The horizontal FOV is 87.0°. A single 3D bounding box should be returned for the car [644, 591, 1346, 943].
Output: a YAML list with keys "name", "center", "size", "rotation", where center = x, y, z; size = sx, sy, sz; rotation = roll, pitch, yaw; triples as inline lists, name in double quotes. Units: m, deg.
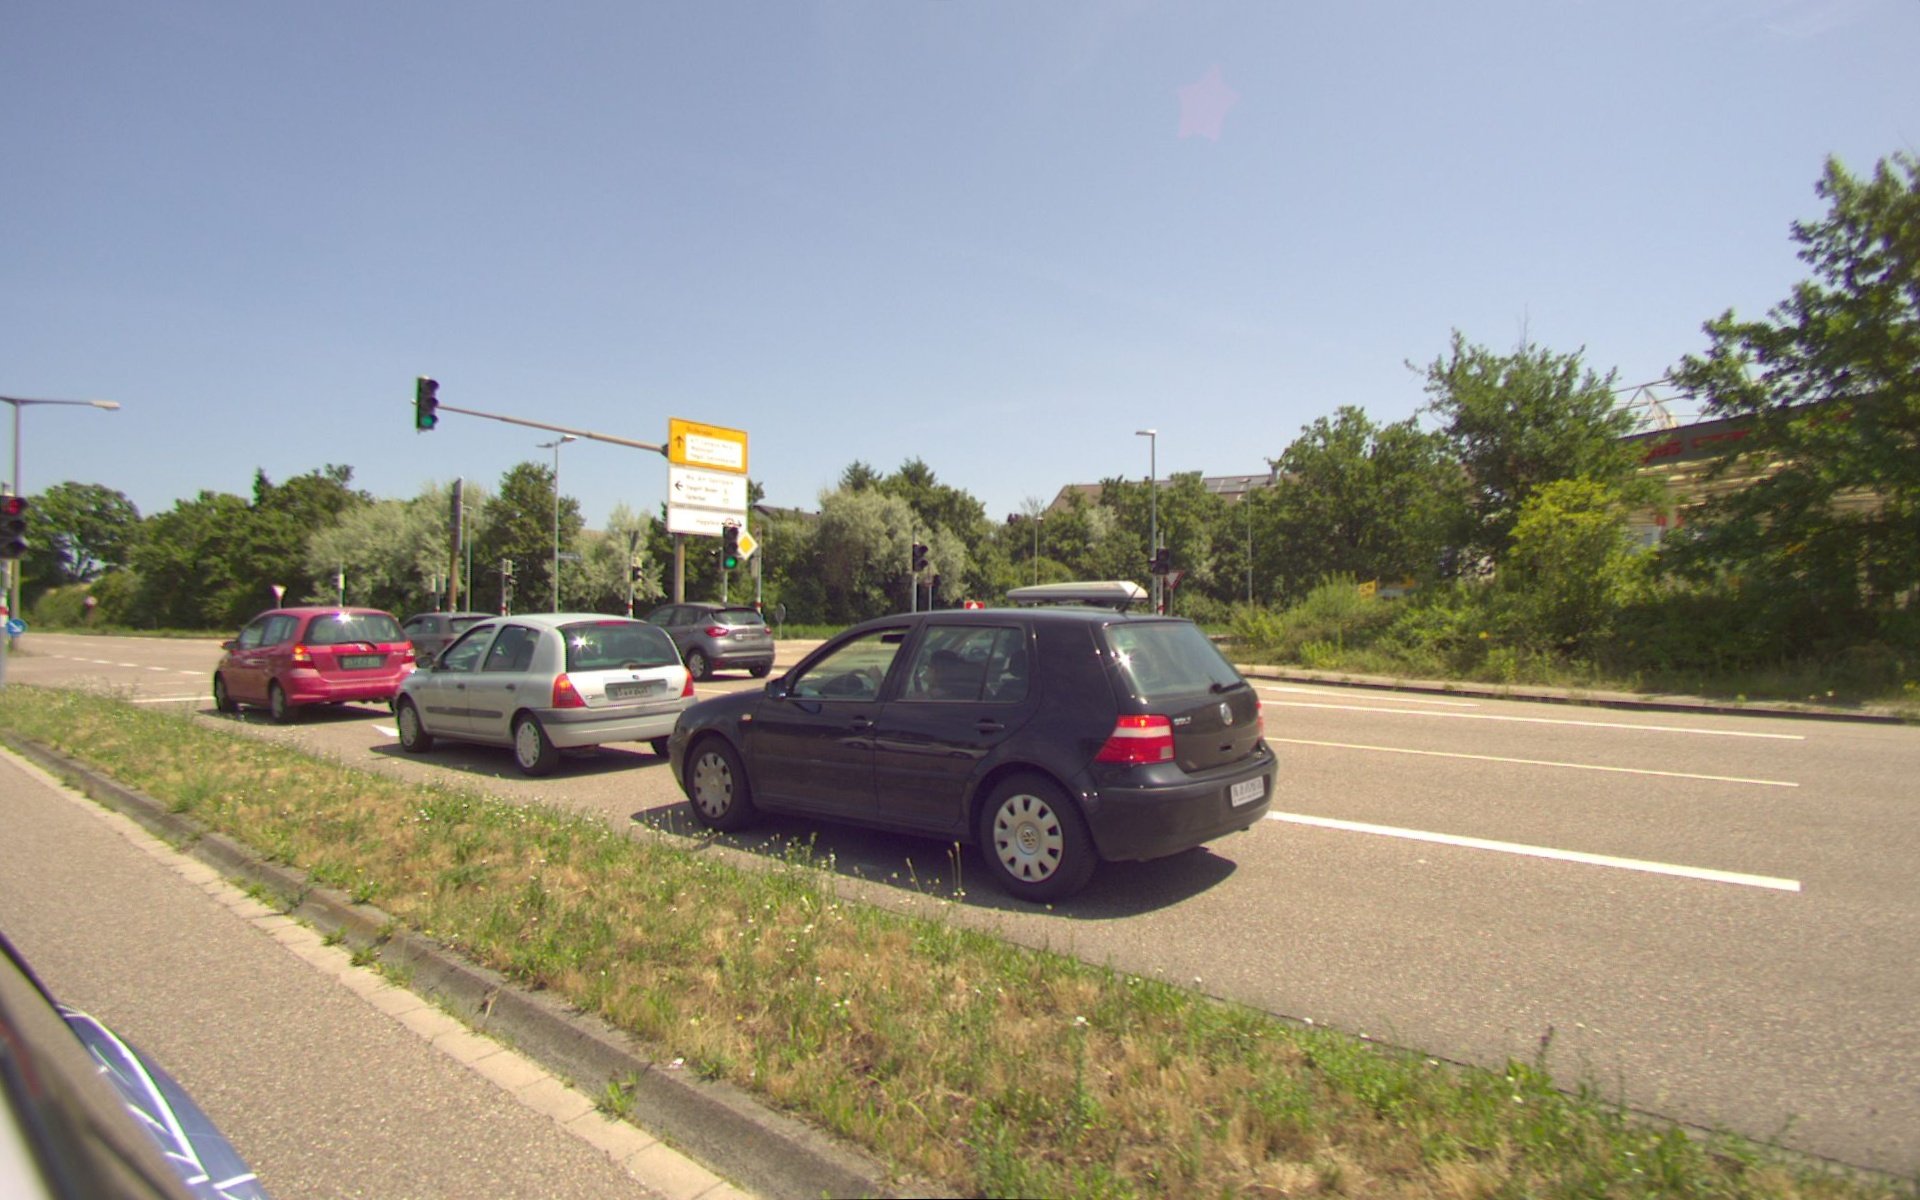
- name: "car"
  center: [-0.049, 0.714, 6.173]
  size: [4.189, 1.445, 1.658]
  rotation: [-1, -1, 41]

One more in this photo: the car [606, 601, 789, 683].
- name: "car"
  center: [-5.507, 0.821, 21.028]
  size: [3.995, 1.551, 1.642]
  rotation: [-1, 0, 39]

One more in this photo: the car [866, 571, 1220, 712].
- name: "car"
  center: [1.084, 0.565, 14.979]
  size: [5.016, 1.763, 1.946]
  rotation: [-1, -1, 39]

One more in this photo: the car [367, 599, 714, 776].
- name: "car"
  center: [-4.274, 0.757, 10.055]
  size: [3.849, 1.434, 1.545]
  rotation: [-2, -1, 39]

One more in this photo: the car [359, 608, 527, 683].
- name: "car"
  center: [-10.652, 0.884, 20.740]
  size: [3.999, 1.395, 1.581]
  rotation: [-1, -1, 39]

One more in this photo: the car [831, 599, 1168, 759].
- name: "car"
  center: [0.324, 0.744, 10.902]
  size: [3.503, 1.456, 1.432]
  rotation: [-1, -1, 40]

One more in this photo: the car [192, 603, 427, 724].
- name: "car"
  center: [-9.341, 0.827, 14.419]
  size: [3.995, 1.502, 1.642]
  rotation: [-1, -2, 39]
